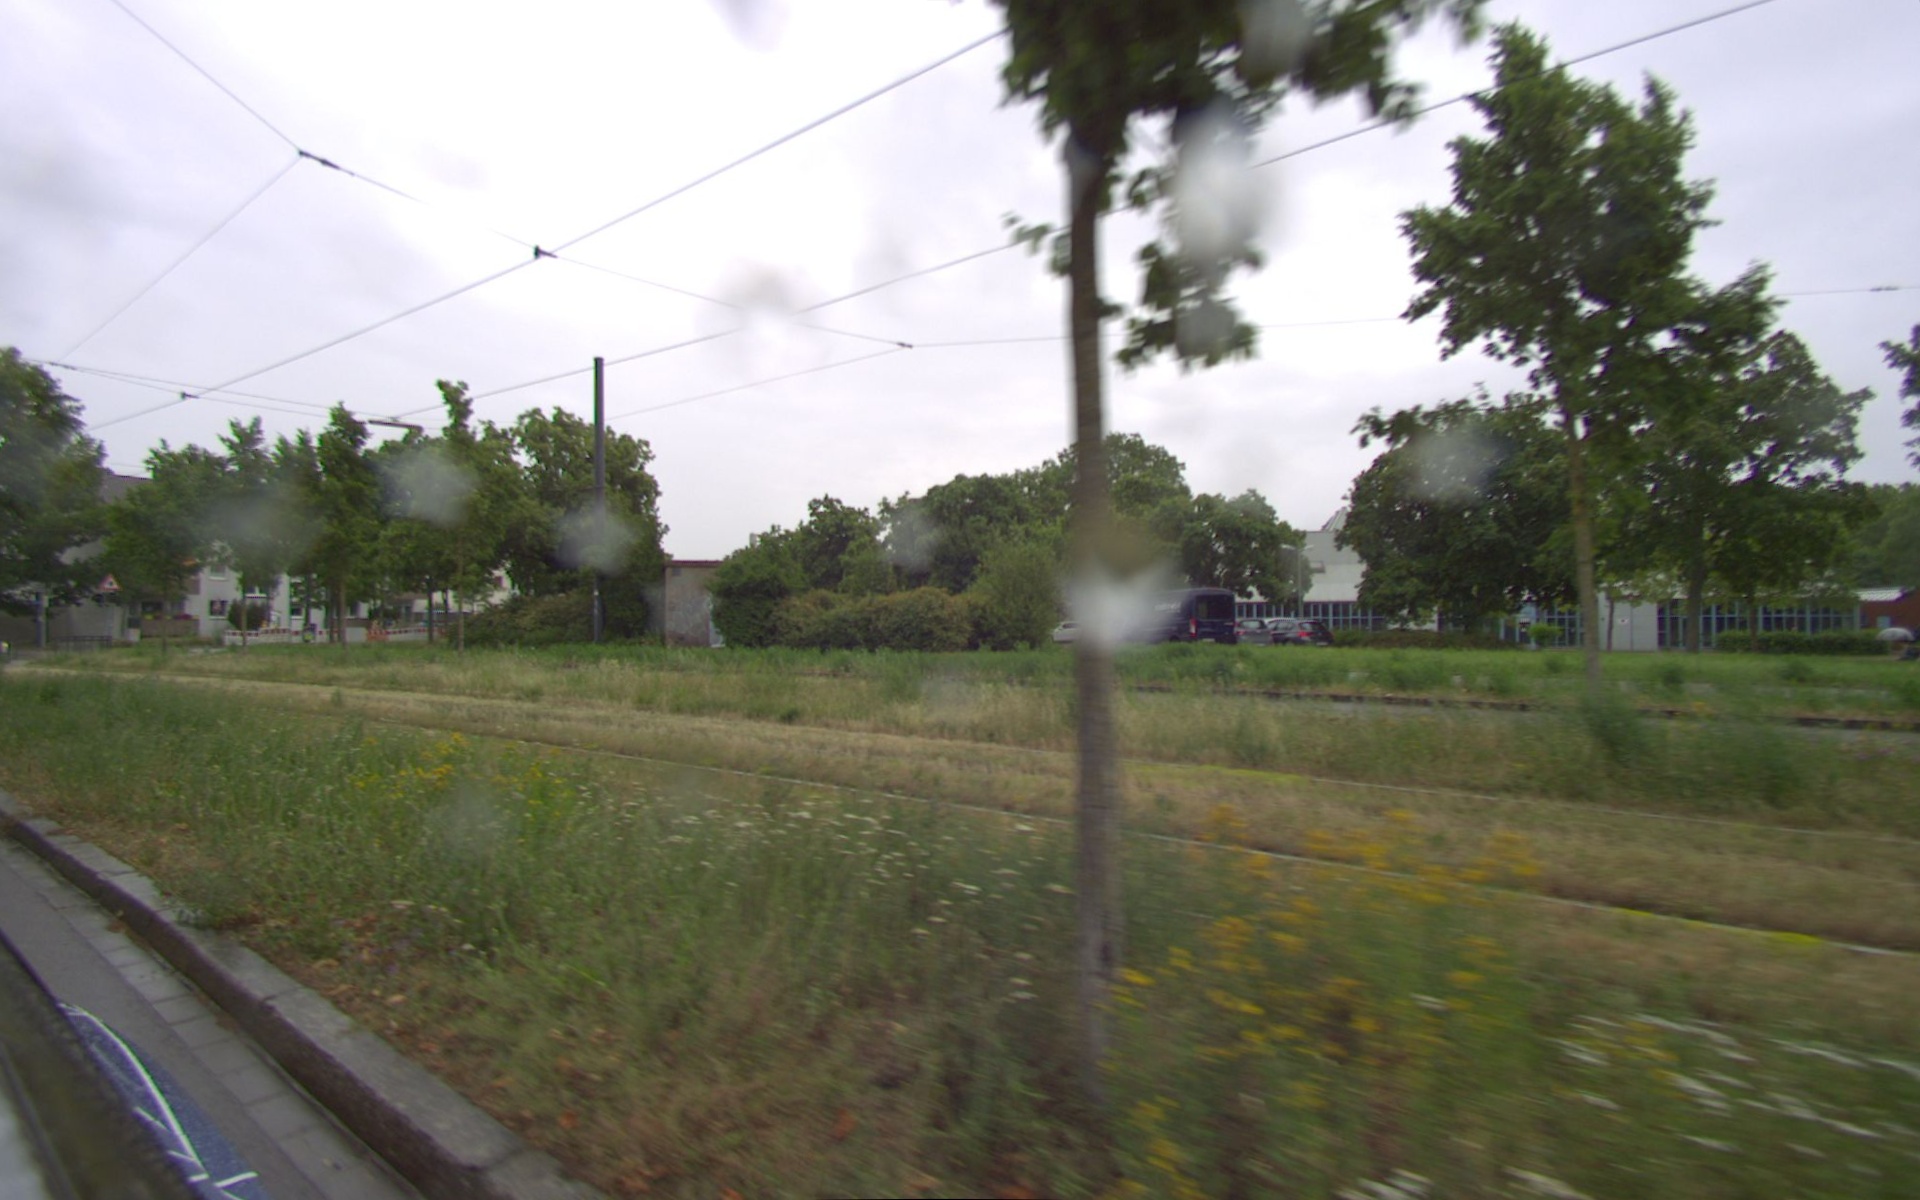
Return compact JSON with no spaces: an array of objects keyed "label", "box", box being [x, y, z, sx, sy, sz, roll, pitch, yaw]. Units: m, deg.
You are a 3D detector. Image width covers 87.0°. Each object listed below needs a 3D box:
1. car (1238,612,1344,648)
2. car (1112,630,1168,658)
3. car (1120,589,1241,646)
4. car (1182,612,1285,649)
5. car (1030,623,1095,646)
[{"label":"car","box":[12.866,1.181,39.621,1.805,1.349,4.110,1,-2,-20]},{"label":"car","box":[9.973,2.439,56.312,1.752,1.475,4.009,0,-2,-11]},{"label":"car","box":[8.096,0.697,37.618,2.001,1.962,4.730,1,-2,-23]},{"label":"car","box":[10.521,1.176,39.207,1.805,1.349,4.110,1,-2,-20]},{"label":"car","box":[6.870,2.295,67.731,3.991,1.445,1.696,0,-1,-25]}]
